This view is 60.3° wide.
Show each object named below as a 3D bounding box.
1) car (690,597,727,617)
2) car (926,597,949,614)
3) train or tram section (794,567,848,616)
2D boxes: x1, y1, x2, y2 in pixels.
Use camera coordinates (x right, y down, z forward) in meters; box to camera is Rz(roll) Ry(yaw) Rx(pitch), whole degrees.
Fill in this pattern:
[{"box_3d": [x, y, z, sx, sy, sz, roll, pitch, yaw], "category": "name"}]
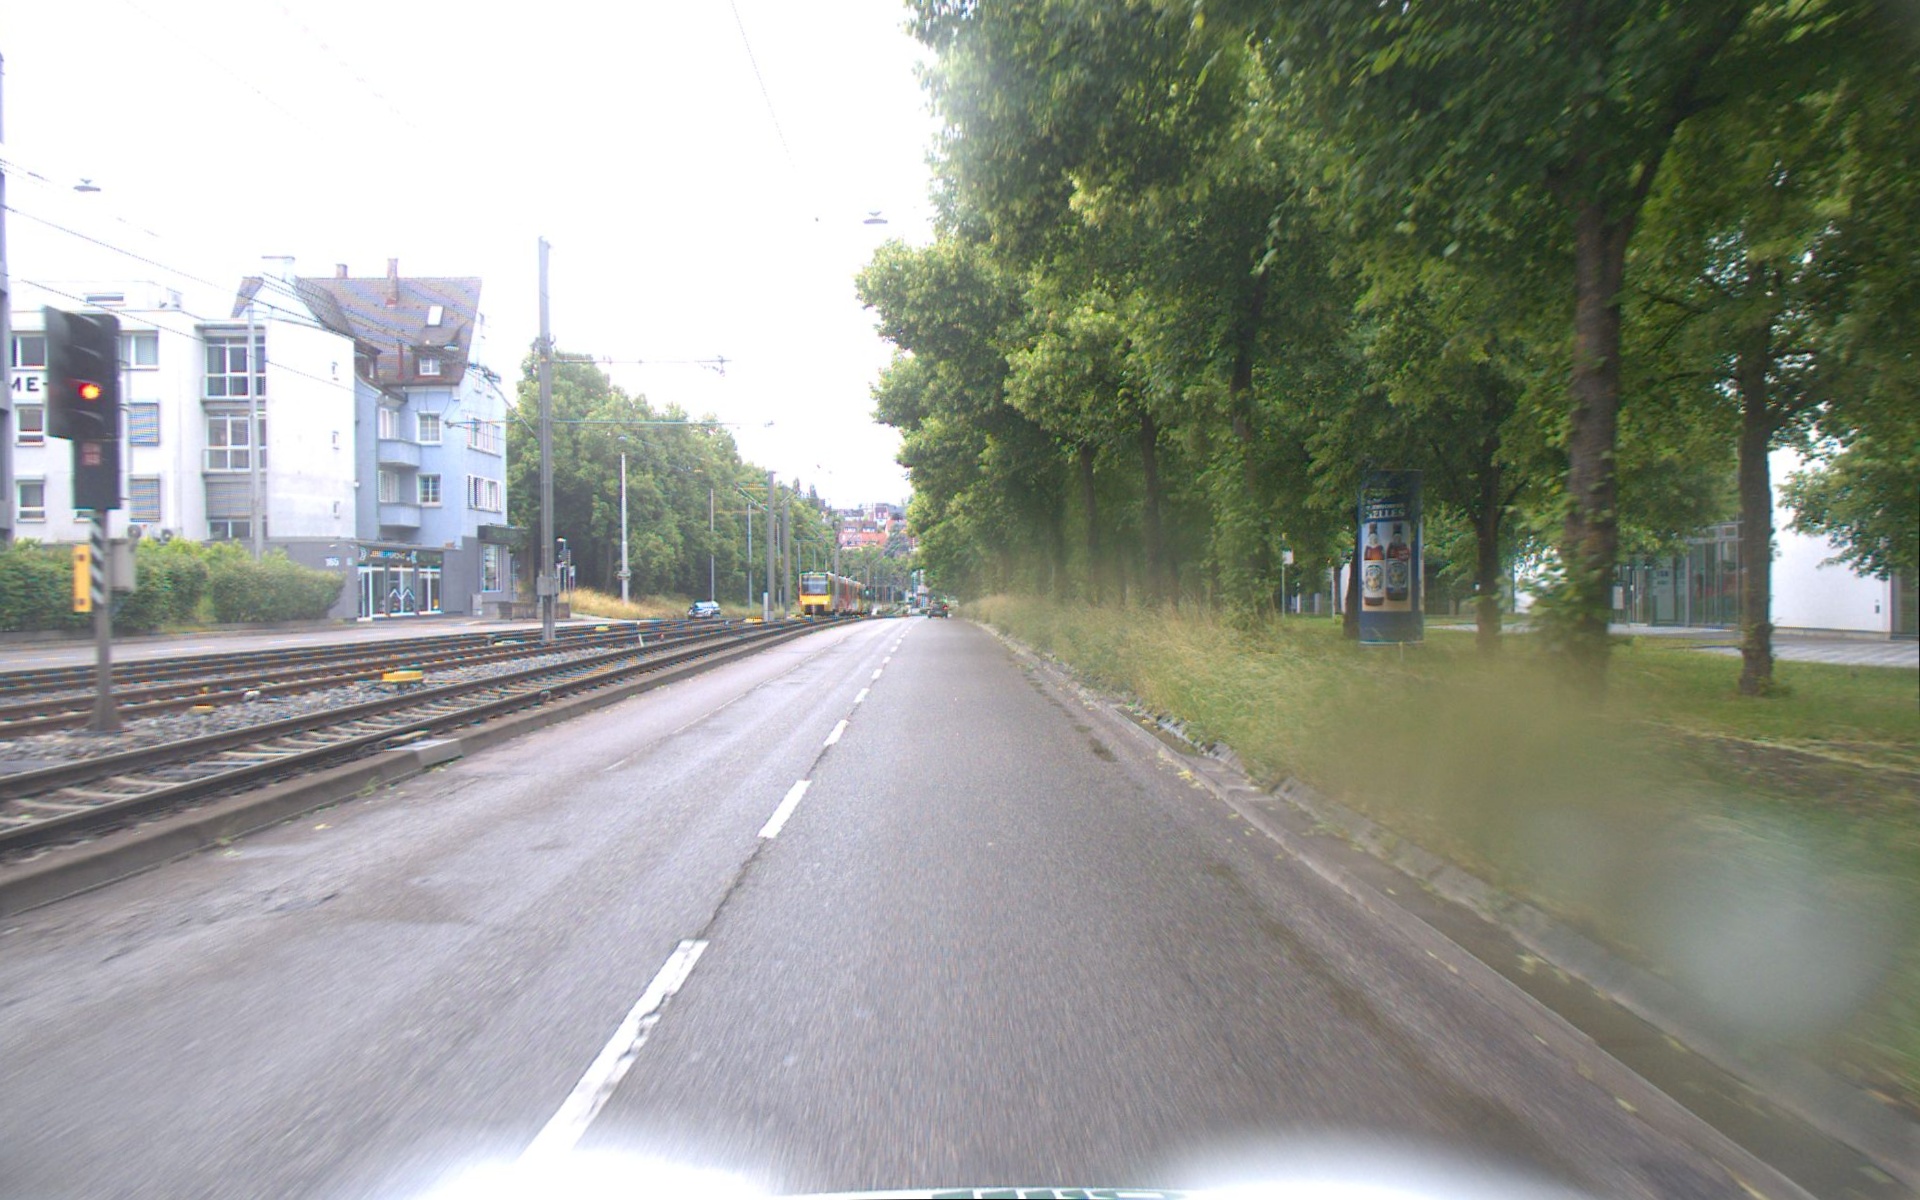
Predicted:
[{"box_3d": [-17.765, 0.489, 117.063, 1.863, 1.348, 4.826, -1, -1, 0], "category": "car"}, {"box_3d": [-1.912, 0.446, 143.466, 1.942, 1.466, 4.473, -1, 0, -1], "category": "car"}, {"box_3d": [-11.645, -0.610, 139.615, 3.148, 3.863, 14.789, -1, -1, 0], "category": "train or tram section"}]
